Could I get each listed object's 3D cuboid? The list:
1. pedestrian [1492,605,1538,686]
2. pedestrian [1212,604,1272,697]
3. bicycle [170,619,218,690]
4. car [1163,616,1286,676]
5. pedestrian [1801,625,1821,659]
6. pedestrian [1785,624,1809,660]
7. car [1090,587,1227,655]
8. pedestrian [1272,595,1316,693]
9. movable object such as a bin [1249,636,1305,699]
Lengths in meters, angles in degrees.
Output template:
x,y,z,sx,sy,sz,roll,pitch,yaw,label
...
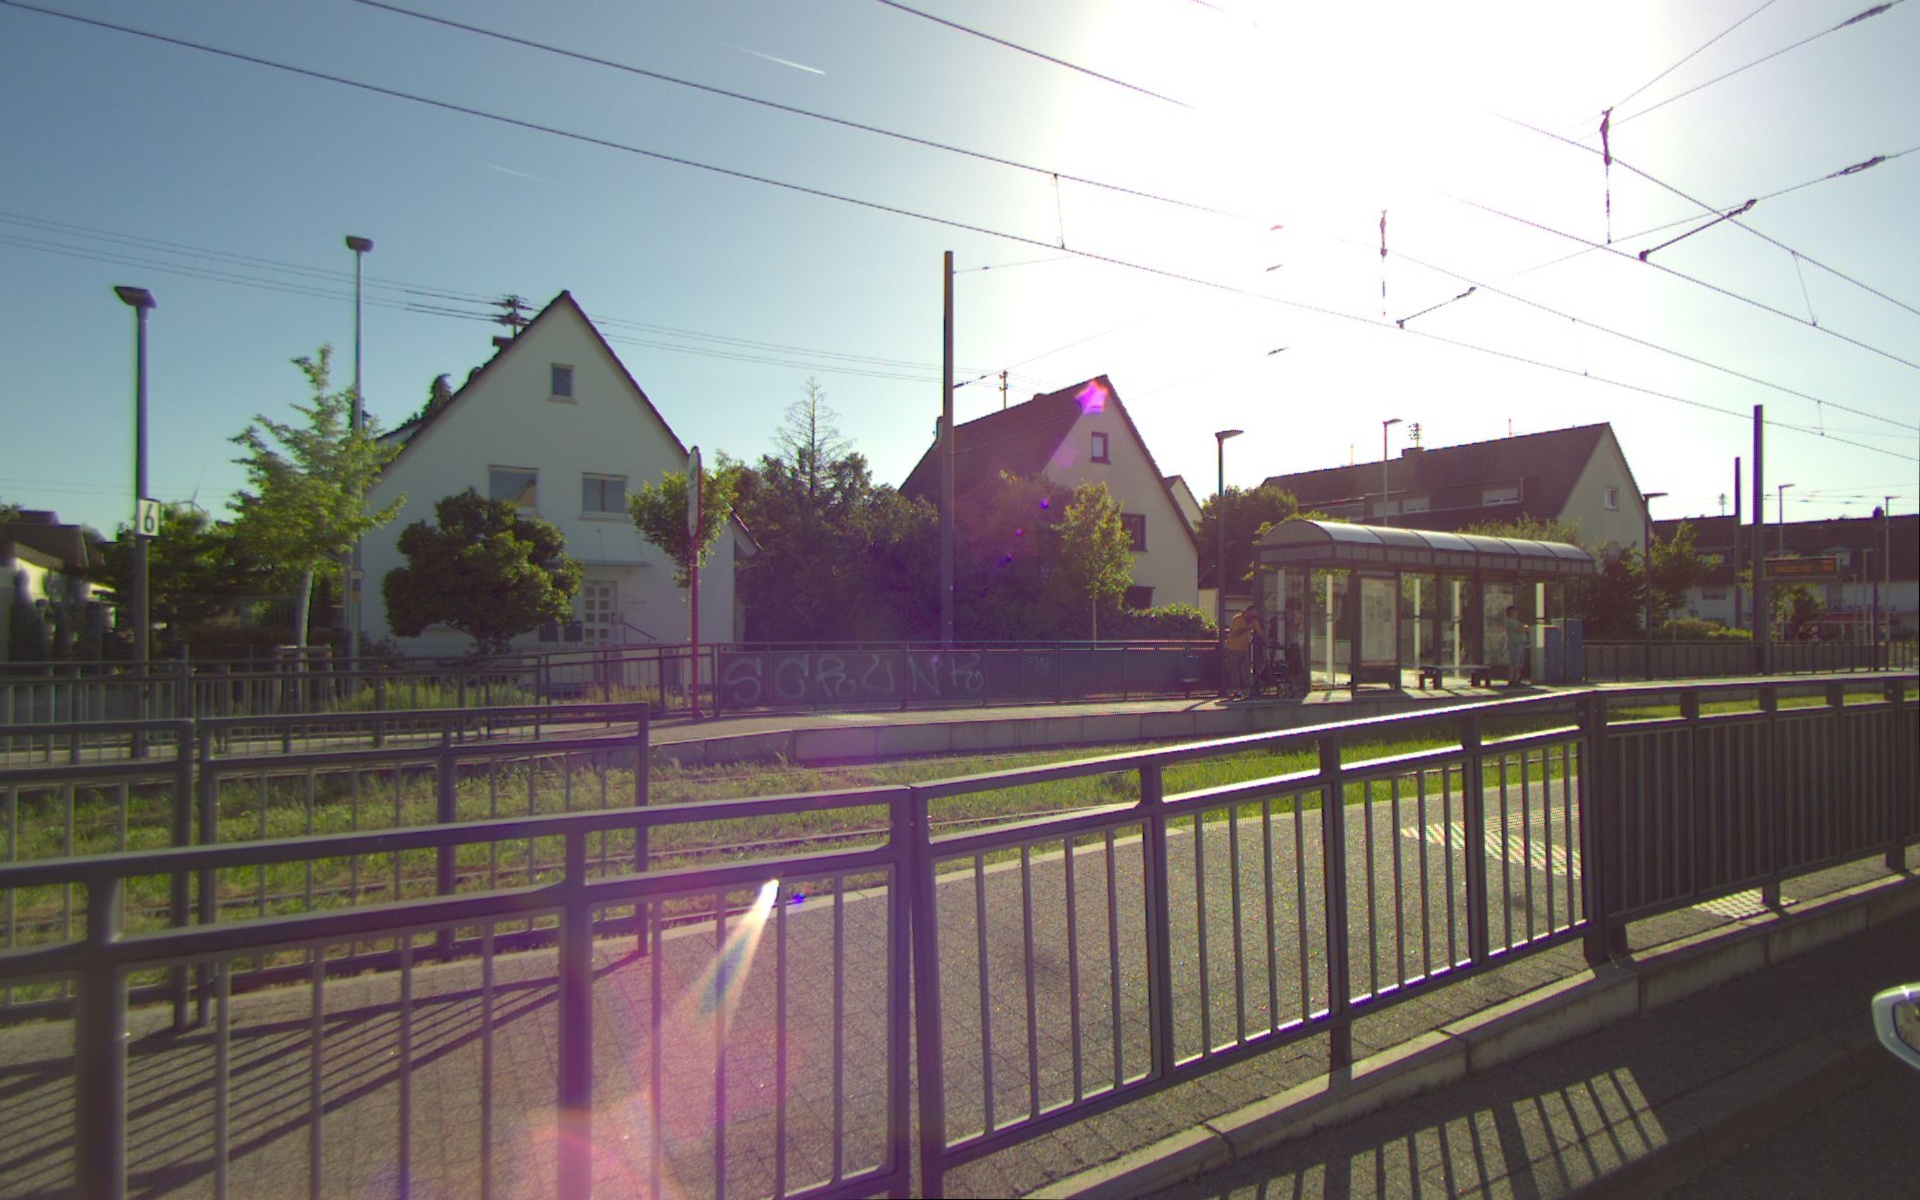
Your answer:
x,y,z,sx,sy,sz,roll,pitch,yaw,label
12.031,0.985,21.788,0.762,1.718,0.498,1,-3,-29,pedestrian
4.835,0.854,17.217,0.741,1.556,0.671,1,-1,-34,pedestrian
-15.908,1.104,20.886,0.698,1.383,1.975,2,-2,-36,bicycle
9.029,1.550,34.521,1.783,1.830,3.816,2,0,-37,car
43.626,2.152,51.477,0.682,1.755,0.590,1,-1,-32,pedestrian
42.547,2.134,51.049,0.763,1.785,0.725,1,-1,-32,pedestrian
6.207,0.621,31.795,1.915,1.996,3.958,2,0,-37,car
6.006,0.785,18.070,0.575,1.731,0.516,1,-1,-34,pedestrian
5.260,1.107,16.669,0.734,1.001,0.543,1,-1,-34,movable object such as a bin
